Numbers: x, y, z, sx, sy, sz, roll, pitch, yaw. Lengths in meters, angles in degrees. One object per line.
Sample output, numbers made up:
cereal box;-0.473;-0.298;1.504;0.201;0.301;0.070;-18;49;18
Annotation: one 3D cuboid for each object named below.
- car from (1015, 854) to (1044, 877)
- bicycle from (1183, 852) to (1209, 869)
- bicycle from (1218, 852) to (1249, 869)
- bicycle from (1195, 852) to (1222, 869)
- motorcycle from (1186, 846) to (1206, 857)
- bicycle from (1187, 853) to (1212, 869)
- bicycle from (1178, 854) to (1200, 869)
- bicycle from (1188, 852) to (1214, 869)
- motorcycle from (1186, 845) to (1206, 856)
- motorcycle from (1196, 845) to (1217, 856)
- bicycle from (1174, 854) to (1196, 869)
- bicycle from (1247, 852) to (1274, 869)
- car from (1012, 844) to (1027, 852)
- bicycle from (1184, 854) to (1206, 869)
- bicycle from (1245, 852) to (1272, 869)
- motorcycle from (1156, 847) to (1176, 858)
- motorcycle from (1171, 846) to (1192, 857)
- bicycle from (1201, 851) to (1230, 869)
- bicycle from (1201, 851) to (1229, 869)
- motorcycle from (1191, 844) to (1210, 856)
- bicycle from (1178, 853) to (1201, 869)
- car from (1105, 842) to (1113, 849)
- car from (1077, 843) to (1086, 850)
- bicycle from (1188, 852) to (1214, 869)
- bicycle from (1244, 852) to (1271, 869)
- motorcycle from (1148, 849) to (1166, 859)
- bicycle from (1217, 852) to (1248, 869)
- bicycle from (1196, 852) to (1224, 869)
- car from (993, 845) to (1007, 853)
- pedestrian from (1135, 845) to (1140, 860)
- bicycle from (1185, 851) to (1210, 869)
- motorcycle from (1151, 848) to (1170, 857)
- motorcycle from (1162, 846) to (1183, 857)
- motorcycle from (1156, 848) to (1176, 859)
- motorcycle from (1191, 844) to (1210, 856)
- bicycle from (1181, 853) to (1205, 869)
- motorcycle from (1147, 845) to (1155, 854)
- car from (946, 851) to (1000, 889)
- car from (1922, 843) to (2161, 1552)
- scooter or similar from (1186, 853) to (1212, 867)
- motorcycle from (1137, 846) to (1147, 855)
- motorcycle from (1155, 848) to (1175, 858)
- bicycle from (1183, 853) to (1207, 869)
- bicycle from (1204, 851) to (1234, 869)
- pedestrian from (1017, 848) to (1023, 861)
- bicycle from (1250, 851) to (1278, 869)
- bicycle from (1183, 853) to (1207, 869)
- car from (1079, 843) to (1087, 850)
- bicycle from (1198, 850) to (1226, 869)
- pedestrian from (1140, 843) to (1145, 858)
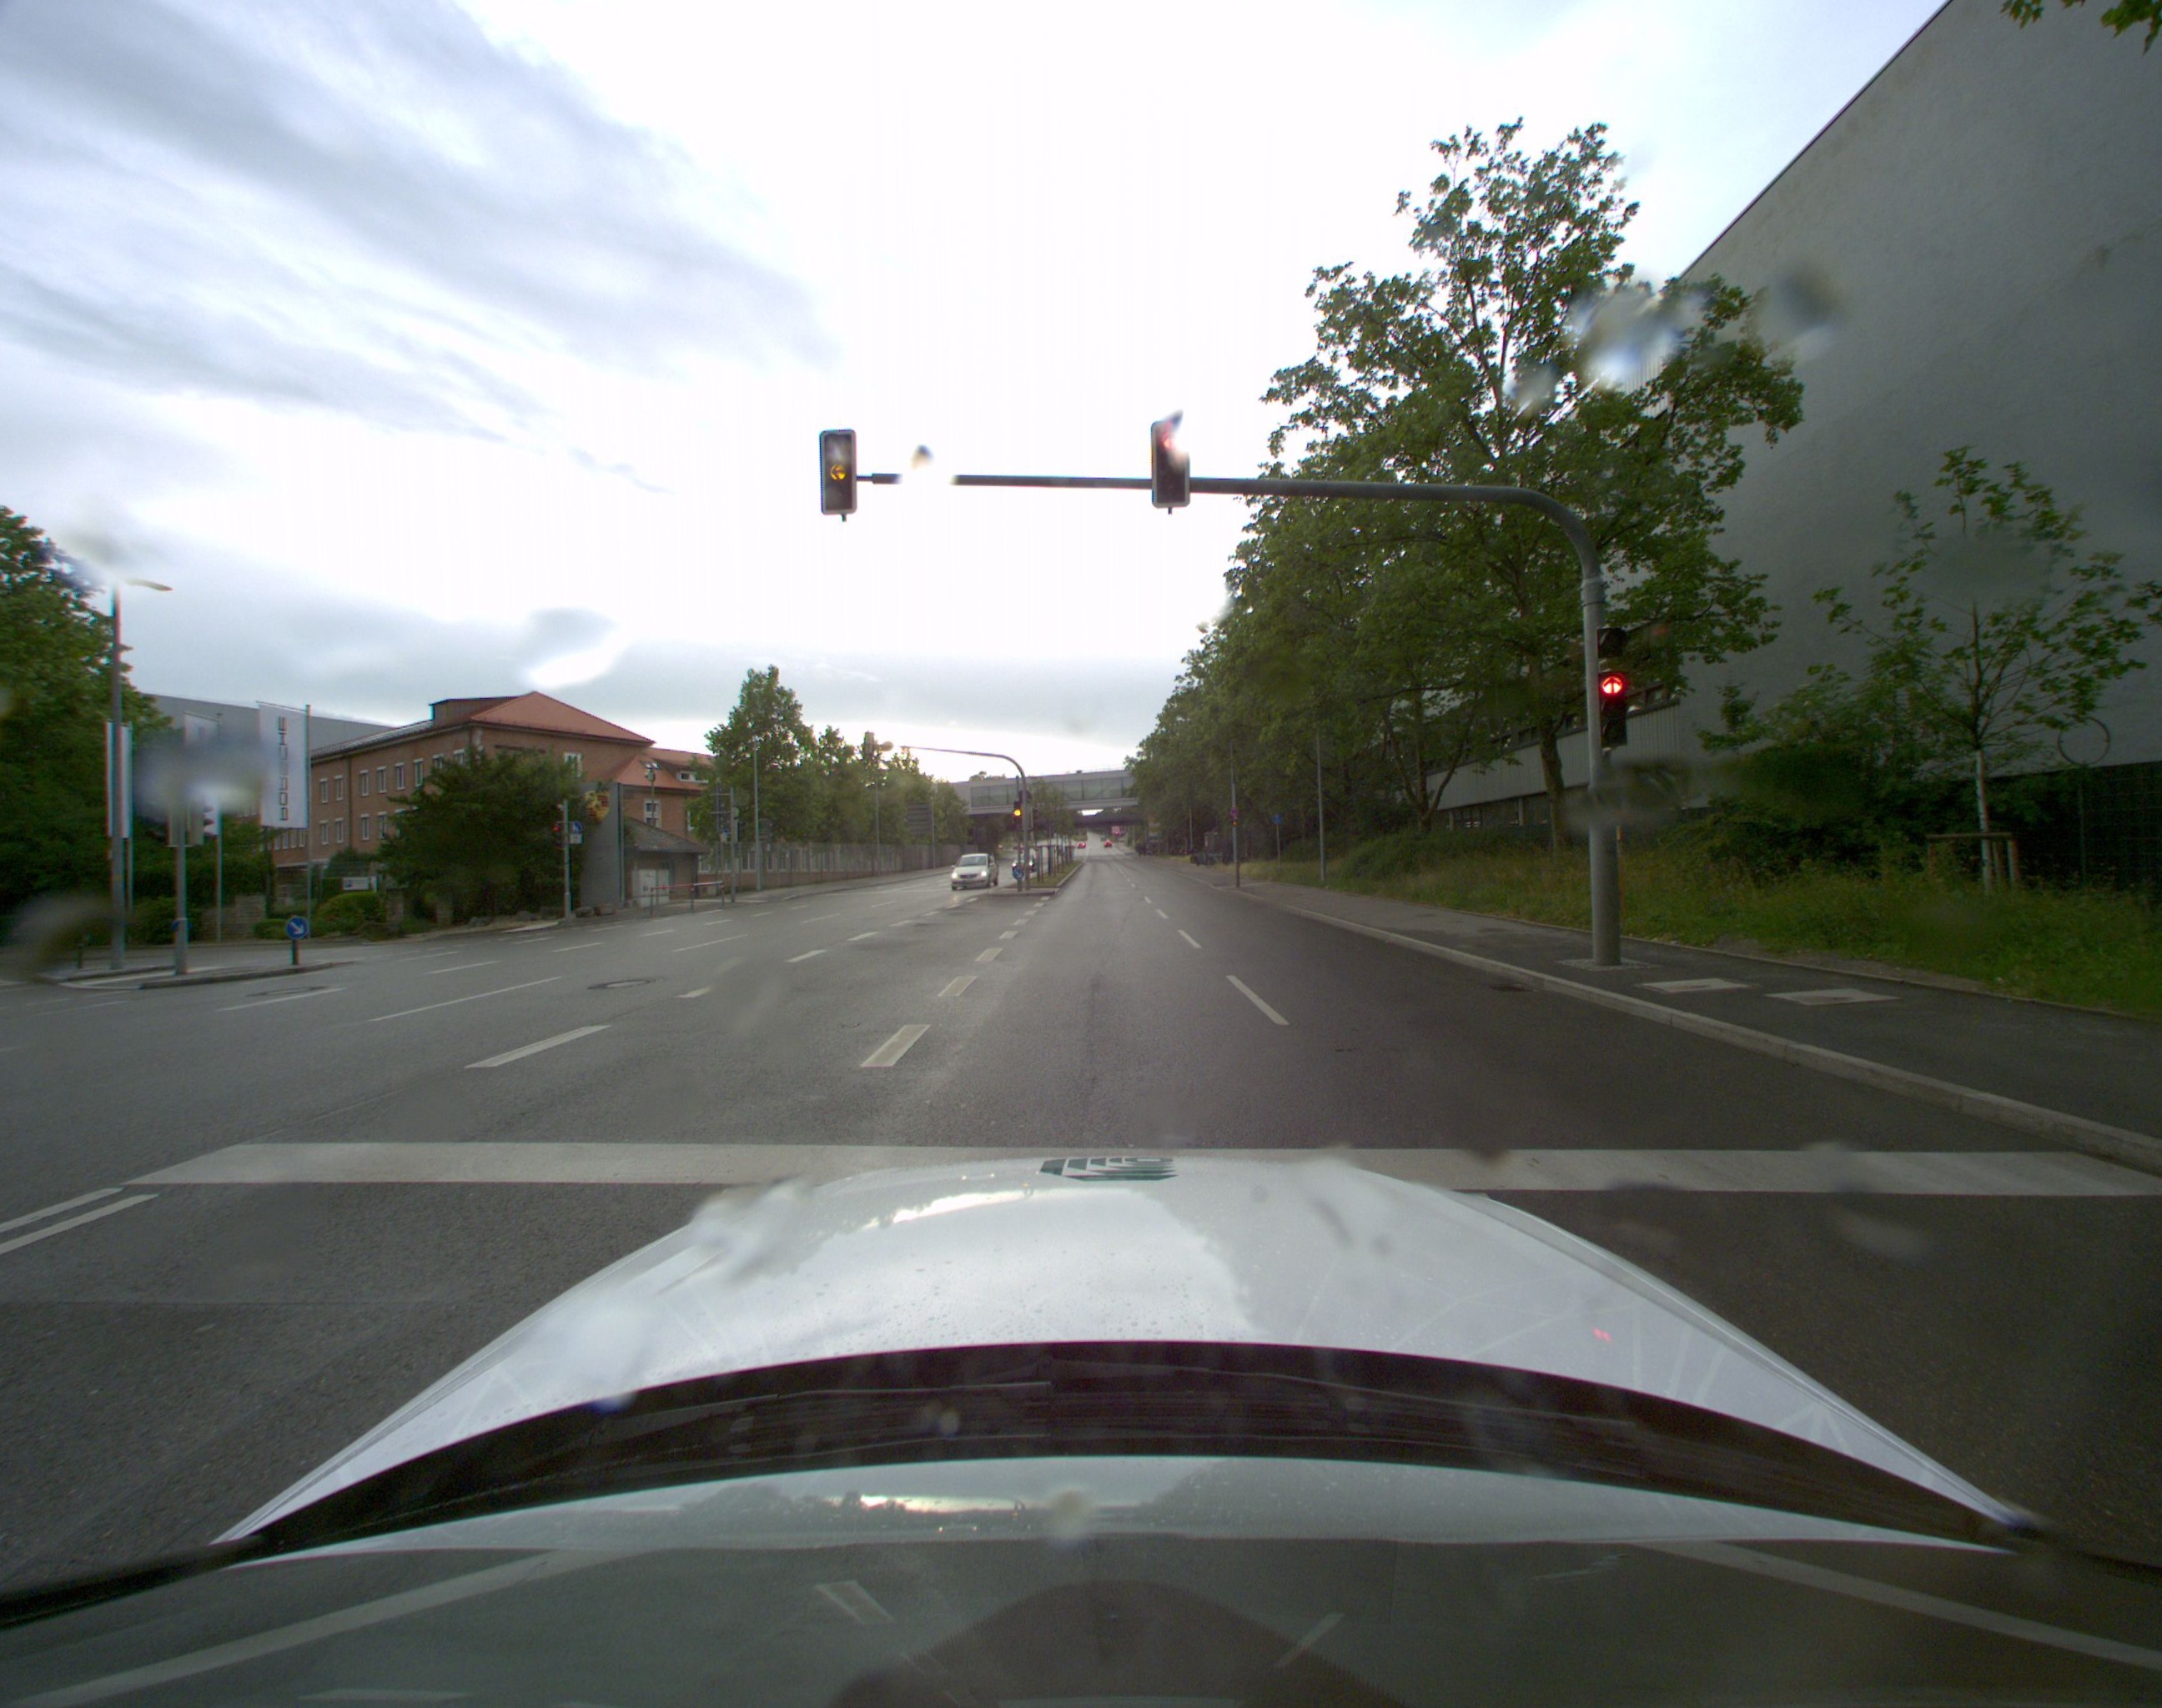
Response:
car;-3.949;0.849;63.114;1.870;1.624;3.780;-2;0;2
bicycle;9.294;0.525;65.820;1.982;1.328;0.576;0;-1;2
bicycle;10.083;0.441;53.769;1.982;1.095;0.541;0;-1;2
bicycle;9.641;0.493;61.720;1.982;1.242;0.541;0;-1;2
motorcycle;14.106;-0.298;100.104;2.354;1.202;0.724;-3;0;9
bicycle;9.947;0.559;68.337;1.982;1.328;0.576;0;-1;2
bicycle;9.862;0.654;74.300;1.955;1.328;0.654;0;-1;2
bicycle;9.590;0.514;65.003;1.982;1.328;0.576;0;-1;2
motorcycle;14.296;-0.419;100.983;2.354;1.202;0.724;-3;0;9
motorcycle;15.231;-0.377;98.767;2.354;1.202;0.724;-3;0;9
bicycle;9.393;0.638;73.507;1.955;1.328;0.654;0;-1;2
bicycle;13.744;0.503;62.436;1.982;1.328;0.576;0;-1;2
car;-16.752;-1.648;222.003;2.011;2.014;3.951;1;-1;-44
bicycle;10.618;0.684;75.786;1.955;1.328;0.654;0;-1;2
bicycle;13.779;0.514;63.083;1.982;1.328;0.576;0;-1;2
motorcycle;10.599;-0.206;101.483;2.354;1.202;0.724;-3;0;9
motorcycle;11.974;-0.273;96.709;2.354;1.202;0.724;-3;0;9
bicycle;9.606;0.437;58.000;1.982;1.233;0.541;0;-1;2
bicycle;9.640;0.443;58.624;1.982;1.242;0.541;0;-1;2
motorcycle;15.710;-0.480;106.869;2.354;1.476;0.724;-3;0;9
bicycle;9.693;0.625;72.585;1.955;1.328;0.654;0;-1;2
car;6.924;-2.107;203.101;1.868;1.497;4.070;0;-1;2
car;0.098;-1.822;207.075;1.986;1.762;4.002;0;-1;2
bicycle;9.289;0.512;63.103;1.982;1.242;0.541;0;-1;2
bicycle;13.812;0.525;63.752;1.982;1.328;0.576;0;-1;2
motorcycle;9.914;-0.052;106.252;2.354;1.202;0.724;-3;0;9
bicycle;10.102;0.450;54.337;1.982;1.095;0.541;0;-1;2
bicycle;9.614;0.477;60.771;1.982;1.242;0.541;0;-1;2
car;-22.606;-1.391;227.766;2.011;2.014;3.952;1;-1;-42
pedestrian;7.726;-0.163;111.591;0.619;2.013;0.606;-3;0;2
bicycle;9.619;0.492;67.491;1.982;1.430;0.723;0;-1;2
motorcycle;10.503;-0.200;107.937;2.354;1.202;0.795;-3;0;9
motorcycle;10.721;-0.267;95.262;2.354;1.202;0.724;-3;0;9
motorcycle;10.452;-0.103;100.571;2.354;1.202;0.724;-3;0;9
motorcycle;15.855;-0.504;108.101;2.354;1.476;0.724;-3;0;9
bicycle;9.760;0.600;70.981;1.955;1.328;0.654;0;-1;2
motorcycle;10.459;-0.617;121.919;0.789;1.311;2.371;-3;0;-7
car;-5.011;0.696;38.357;1.870;1.624;3.780;-2;0;2
car;3.273;0.699;0.171;1.871;1.494;4.073;-3;0;-2
scooter or similar;9.209;0.471;63.698;1.982;1.138;0.541;0;-1;2
motorcycle;9.366;-0.569;125.397;0.792;1.311;2.363;-3;0;-16
motorcycle;10.310;-0.126;99.716;2.354;1.202;0.724;-3;0;9
bicycle;9.643;0.580;69.055;1.982;1.328;0.576;0;-1;2
bicycle;9.469;0.409;55.813;1.982;1.216;0.541;0;-1;2
pedestrian;-10.149;0.086;136.078;0.869;2.004;0.855;-3;0;1
bicycle;13.715;0.480;61.007;1.982;1.328;0.576;0;-1;2
bicycle;9.824;0.589;70.289;1.953;1.328;0.576;0;-1;2
car;0.570;-1.935;211.467;1.877;1.762;3.970;0;-1;2
bicycle;9.687;0.400;60.078;1.982;1.340;0.541;0;-1;2
pedestrian;8.447;-0.537;111.526;0.619;2.013;0.606;-3;0;2
